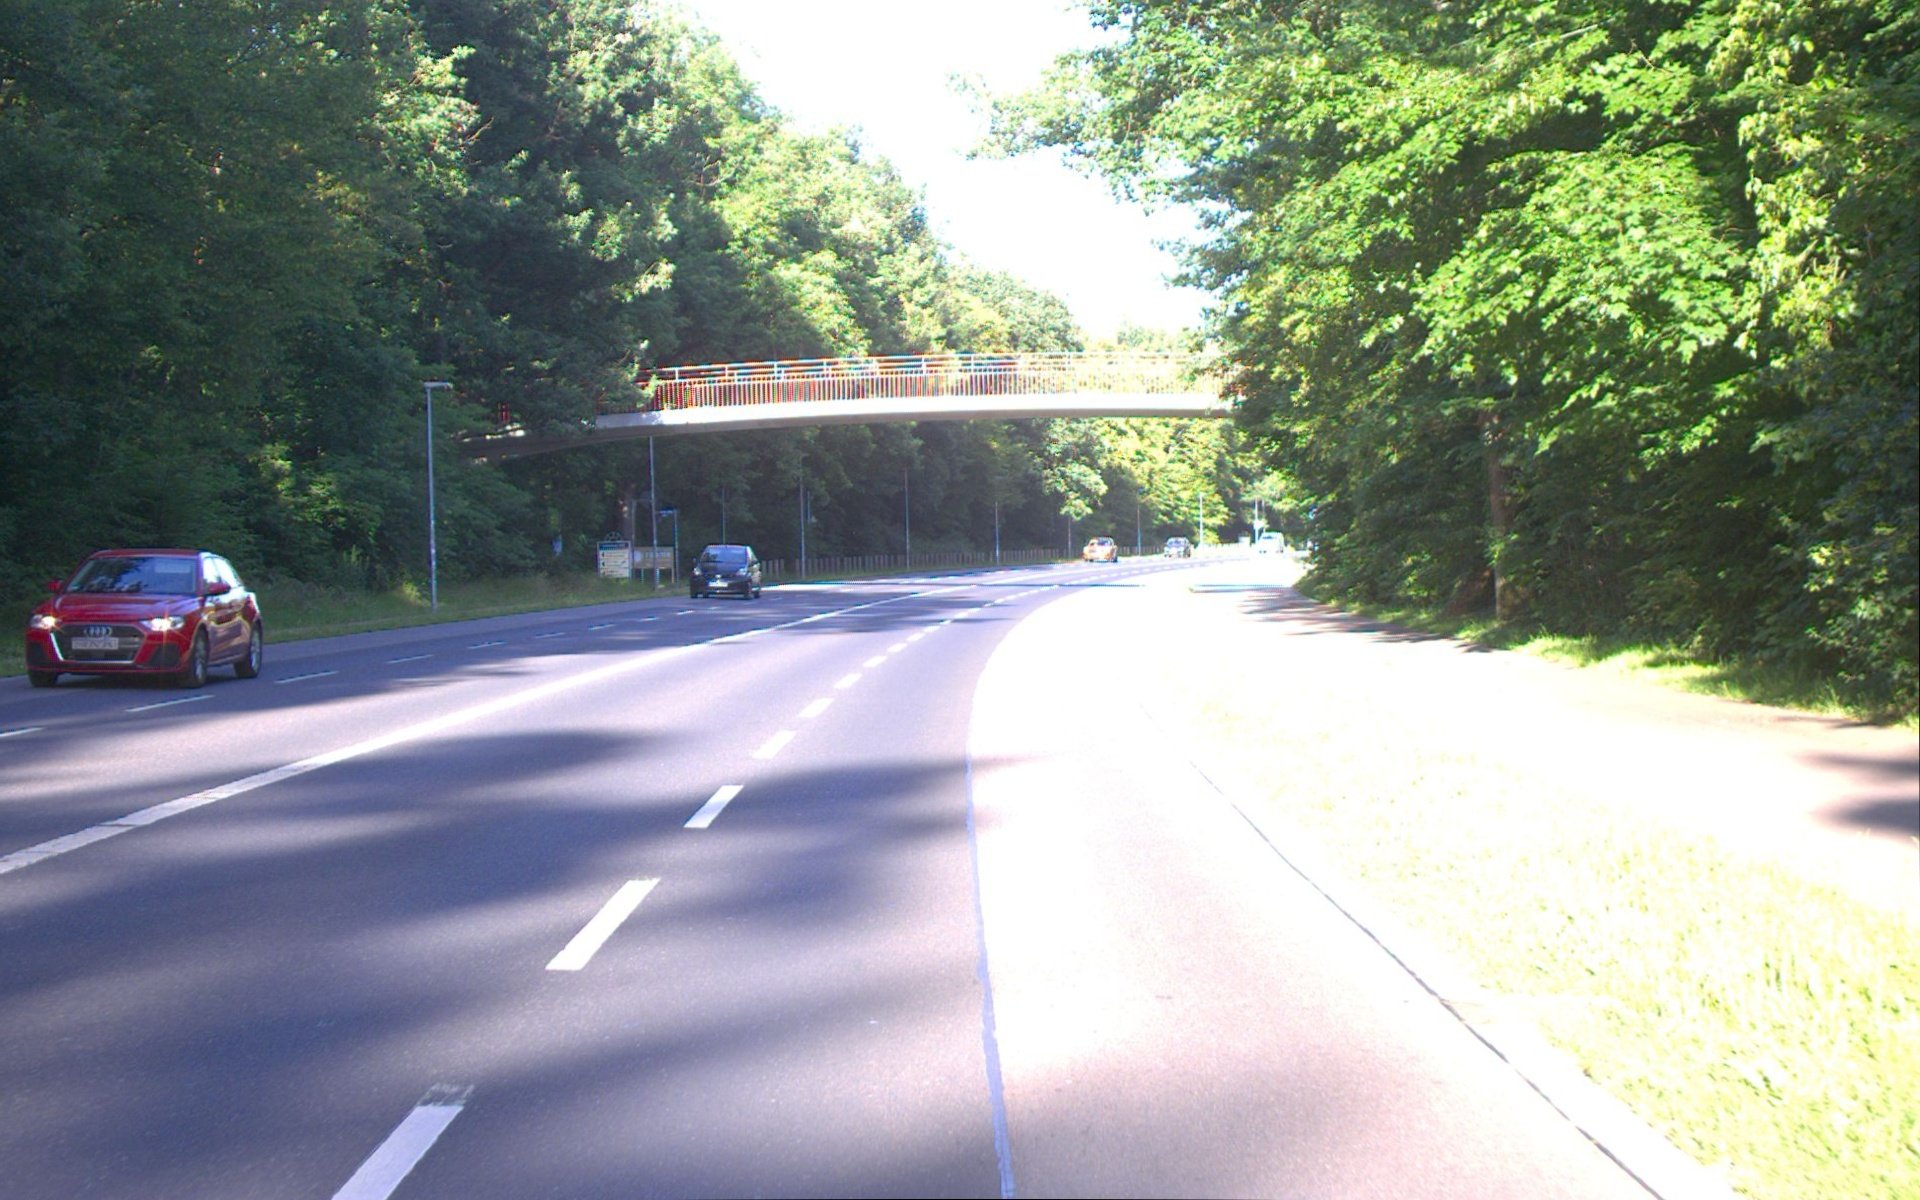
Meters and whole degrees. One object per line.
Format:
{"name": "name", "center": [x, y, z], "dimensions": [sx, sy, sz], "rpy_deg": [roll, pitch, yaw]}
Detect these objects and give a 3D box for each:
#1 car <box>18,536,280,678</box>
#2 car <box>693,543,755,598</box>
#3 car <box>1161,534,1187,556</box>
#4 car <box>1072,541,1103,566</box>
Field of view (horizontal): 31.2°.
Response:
{"name": "car", "center": [-8.501, 0.034, 36.378], "dimensions": [1.710, 1.418, 4.130], "rpy_deg": [0, 1, 1]}
{"name": "car", "center": [-6.329, -0.806, 92.365], "dimensions": [1.495, 1.439, 3.500], "rpy_deg": [0, 1, -1]}
{"name": "car", "center": [16.004, -4.131, 257.490], "dimensions": [1.723, 1.568, 4.177], "rpy_deg": [2, 1, 6]}
{"name": "car", "center": [8.137, -2.967, 219.279], "dimensions": [1.762, 1.577, 4.167], "rpy_deg": [1, 1, 5]}
